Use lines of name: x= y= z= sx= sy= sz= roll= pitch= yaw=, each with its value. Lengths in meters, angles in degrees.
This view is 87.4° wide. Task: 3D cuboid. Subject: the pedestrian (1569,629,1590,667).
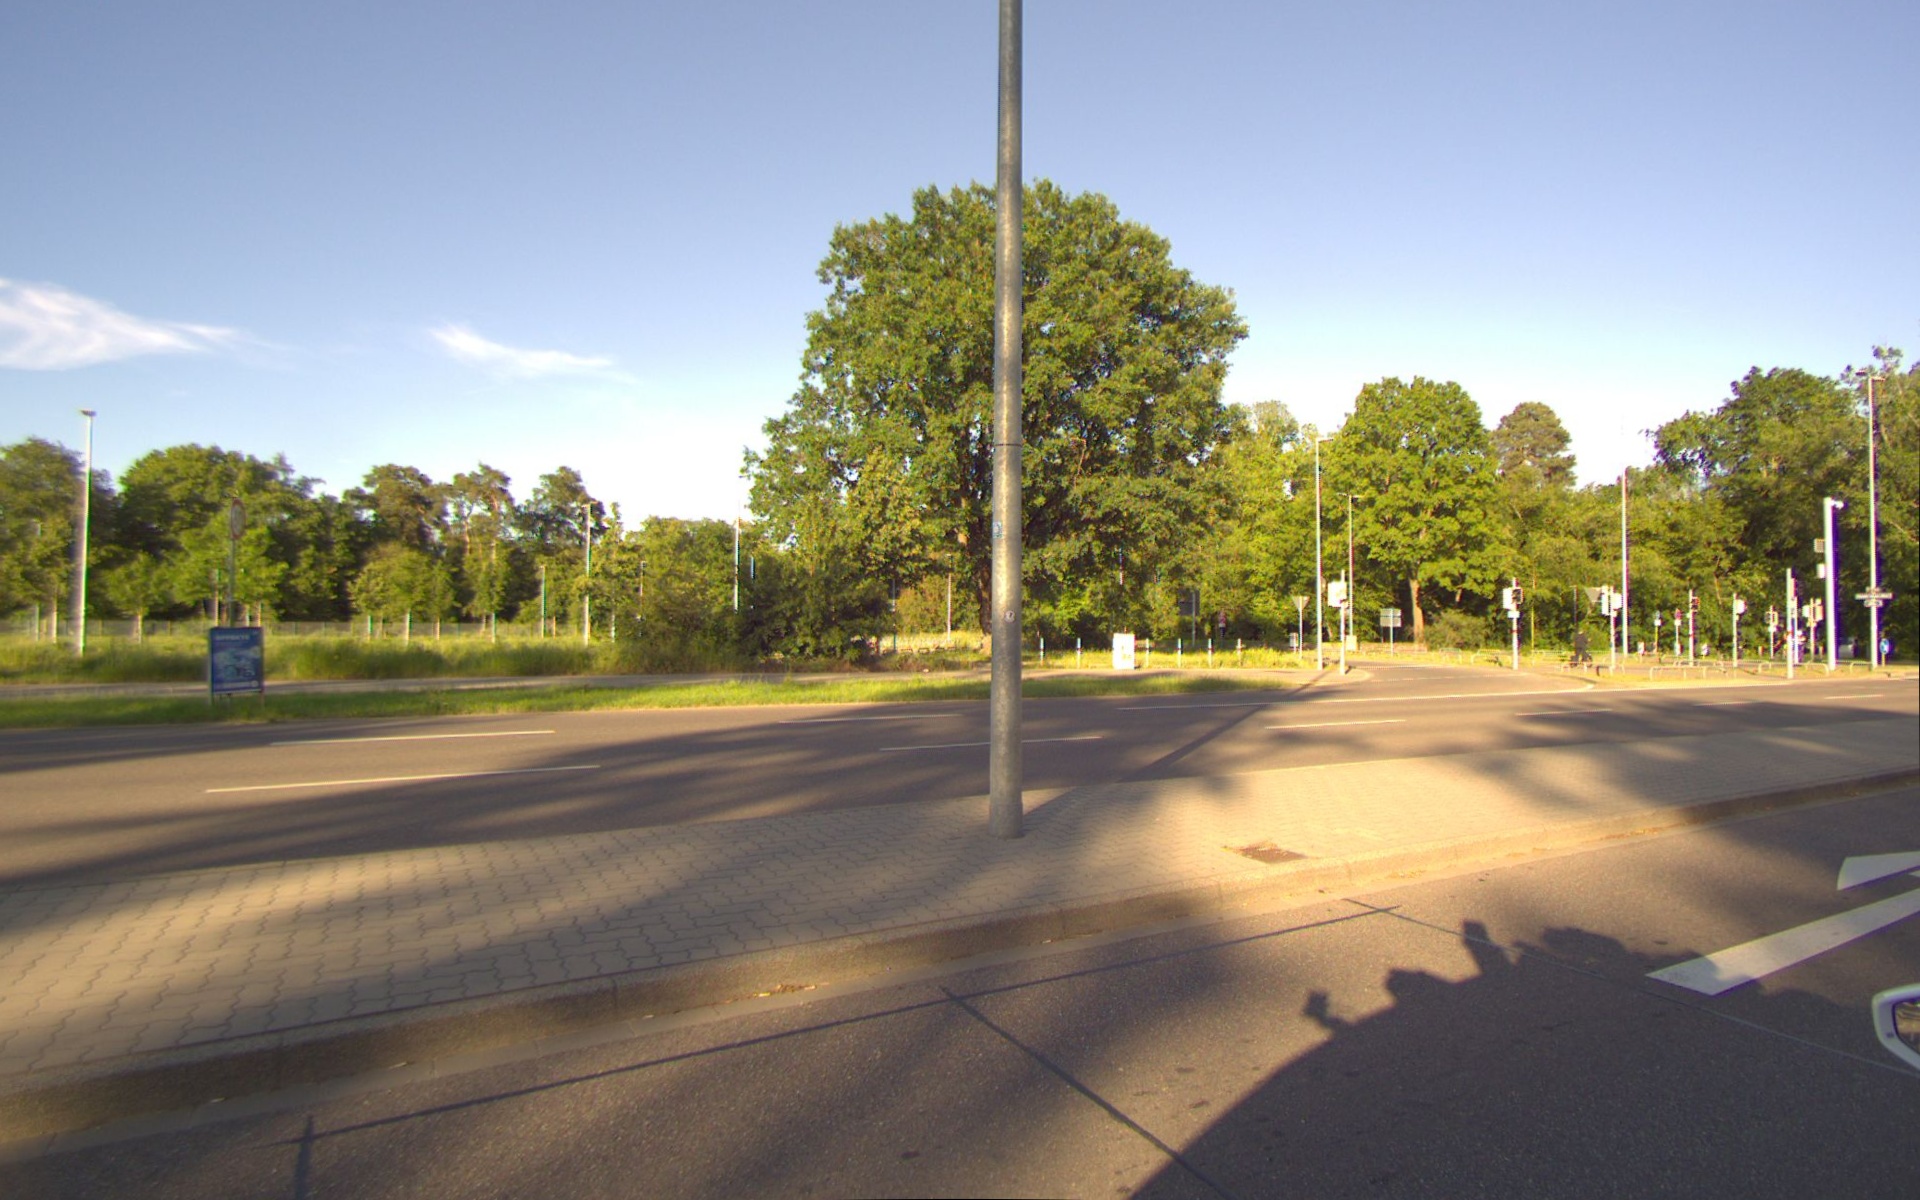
pedestrian: x=26.511 y=2.051 z=43.004 sx=0.636 sy=1.580 sz=0.539 roll=0 pitch=-2 yaw=18
